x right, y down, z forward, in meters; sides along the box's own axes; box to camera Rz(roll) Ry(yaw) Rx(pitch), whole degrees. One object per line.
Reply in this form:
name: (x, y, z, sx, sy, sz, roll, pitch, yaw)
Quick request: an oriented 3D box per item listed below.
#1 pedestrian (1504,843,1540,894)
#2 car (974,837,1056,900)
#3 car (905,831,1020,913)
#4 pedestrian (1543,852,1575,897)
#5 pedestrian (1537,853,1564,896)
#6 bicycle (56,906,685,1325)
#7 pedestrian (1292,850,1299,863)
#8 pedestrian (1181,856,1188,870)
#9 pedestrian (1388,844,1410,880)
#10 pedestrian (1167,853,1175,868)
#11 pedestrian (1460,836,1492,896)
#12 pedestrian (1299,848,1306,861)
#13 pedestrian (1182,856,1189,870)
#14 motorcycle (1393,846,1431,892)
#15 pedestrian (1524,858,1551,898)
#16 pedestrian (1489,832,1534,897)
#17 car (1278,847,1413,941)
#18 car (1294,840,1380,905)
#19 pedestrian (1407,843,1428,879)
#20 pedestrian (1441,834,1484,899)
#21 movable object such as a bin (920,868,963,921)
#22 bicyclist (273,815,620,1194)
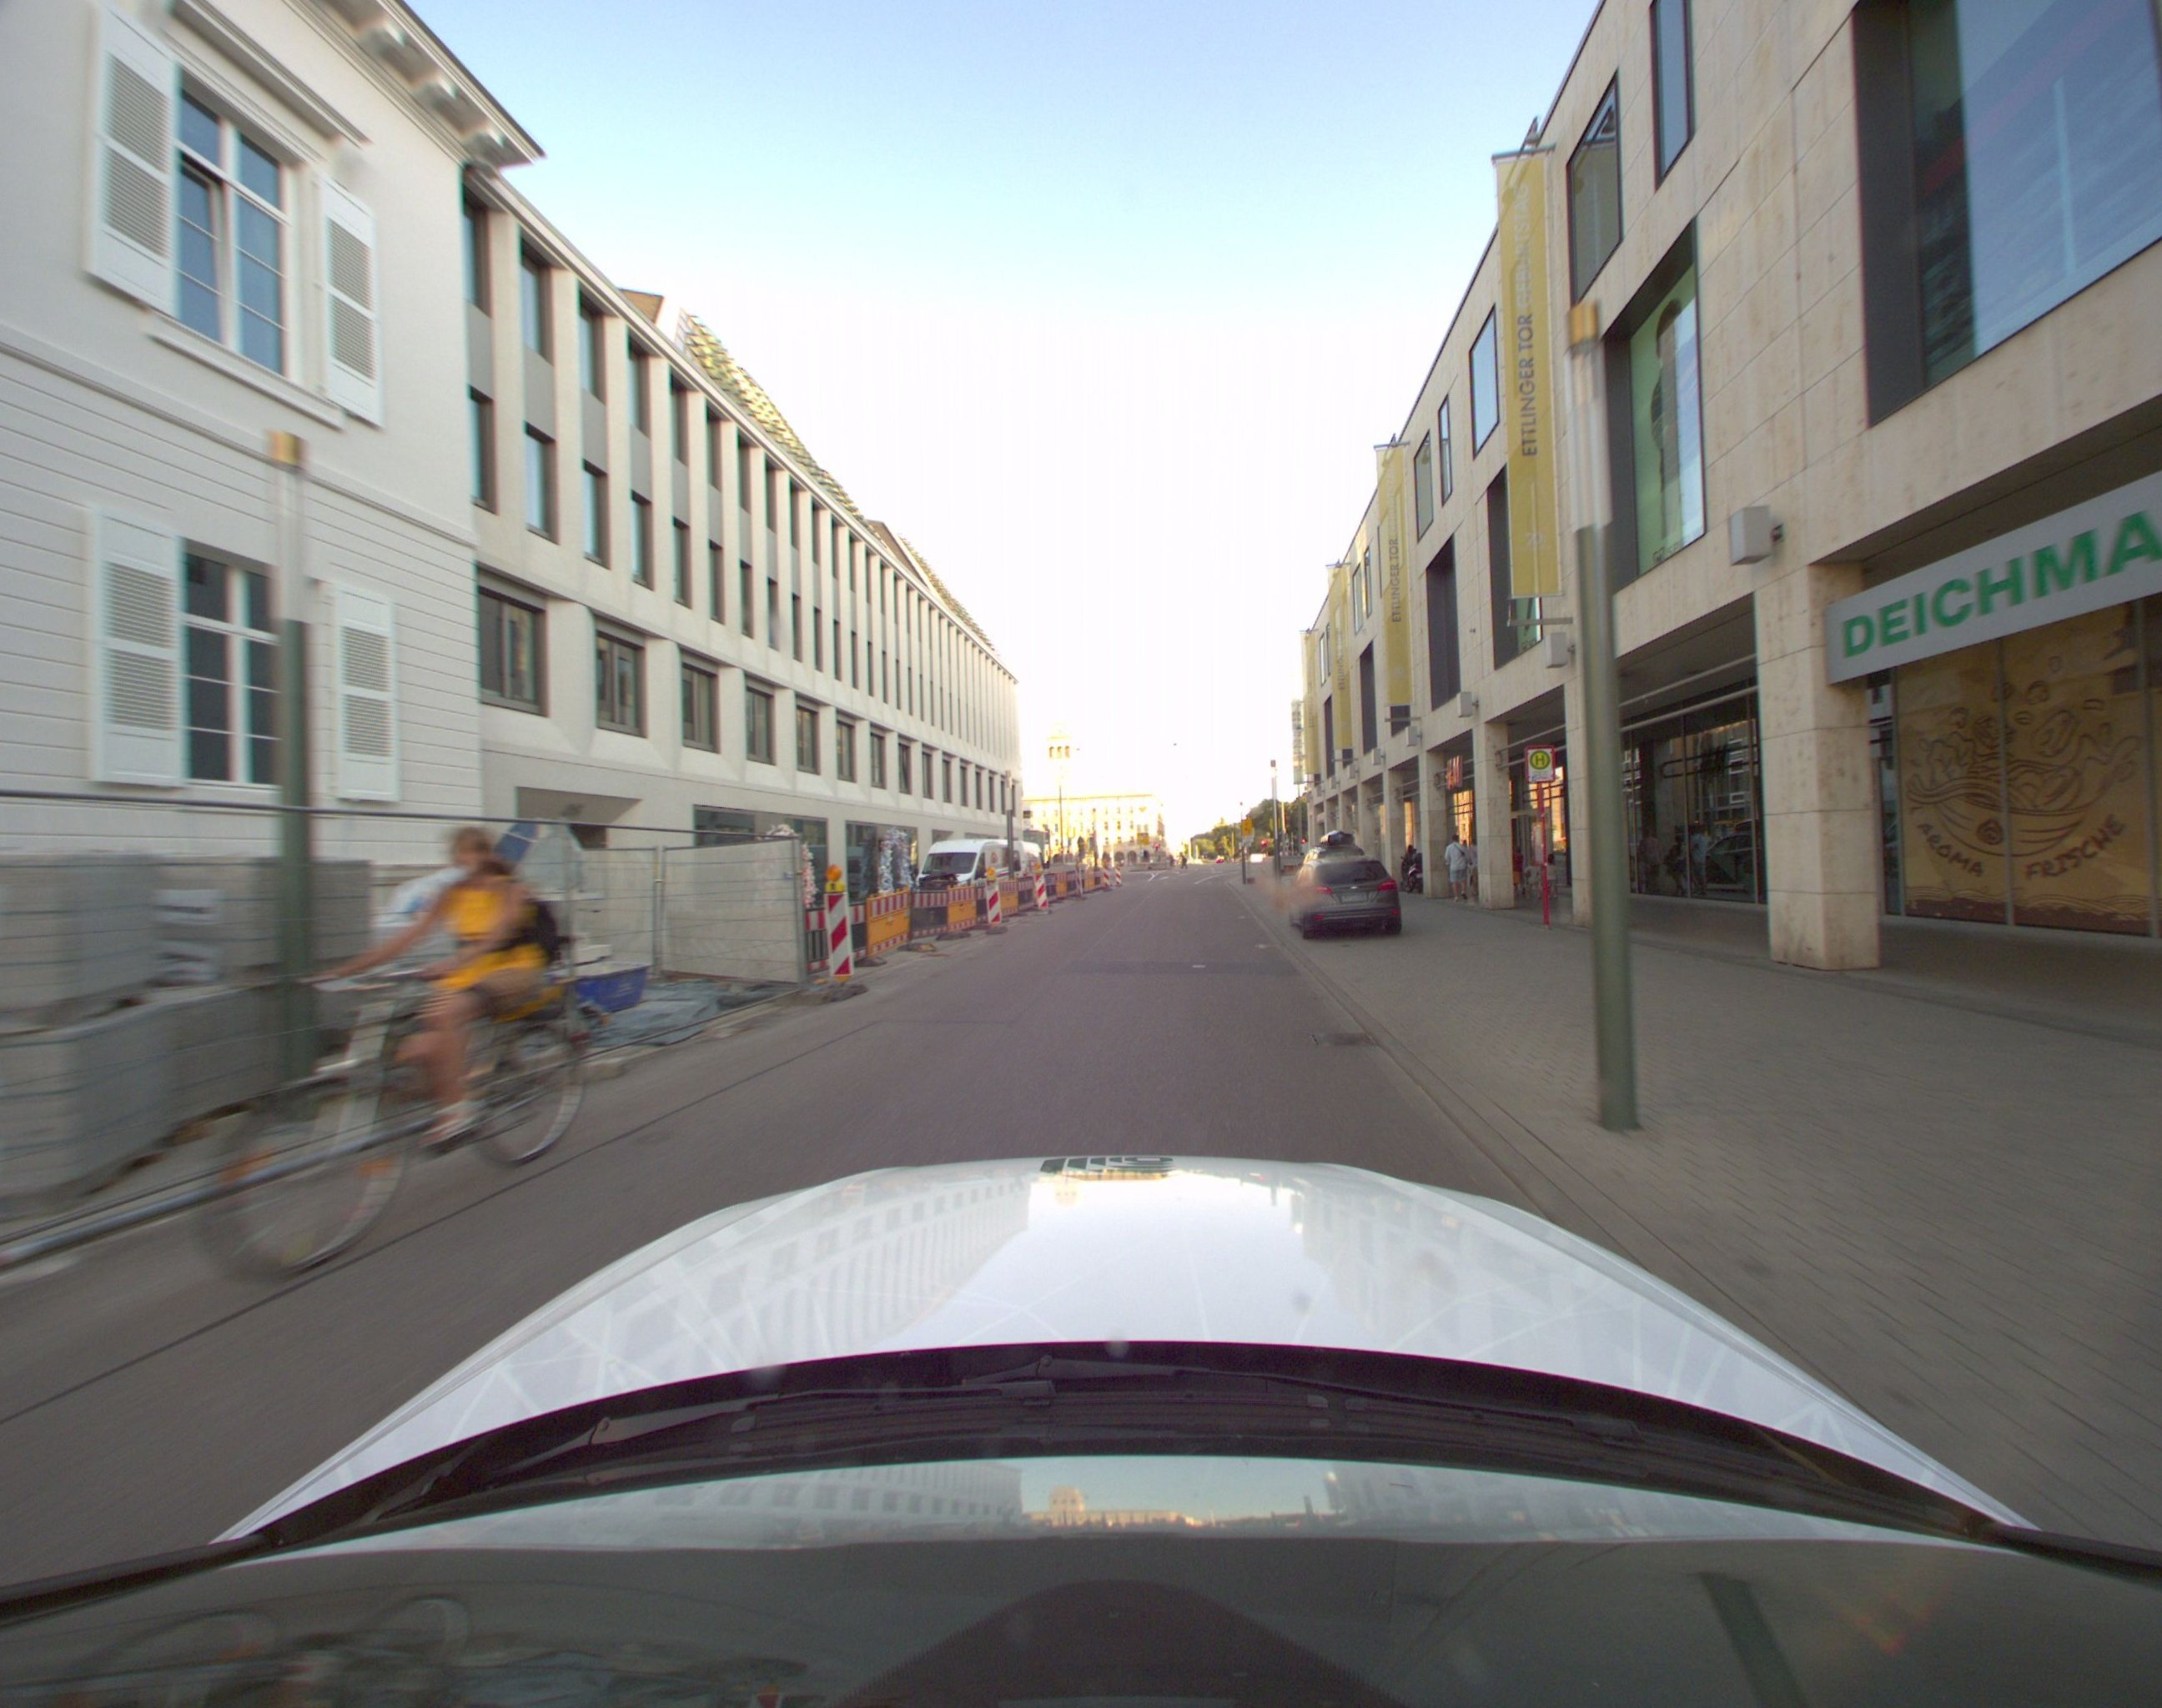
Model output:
pedestrian: (12.193, 0.393, 22.531, 0.630, 1.345, 0.777, -2, 1, 8)
car: (-2.732, 0.584, 35.310, 2.161, 2.470, 6.013, -2, 0, 8)
car: (-3.854, 0.561, 27.923, 2.161, 2.470, 6.013, -2, 0, 9)
pedestrian: (12.146, 0.511, 20.714, 0.484, 1.097, 0.603, -2, 1, 8)
pedestrian: (12.308, 0.525, 21.345, 0.417, 1.097, 0.527, -2, 1, 8)
bicycle: (-2.889, 0.930, 3.785, 0.792, 1.217, 2.237, -2, 0, 6)
pedestrian: (30.356, 0.335, 115.182, 0.855, 1.777, 0.743, -5, -1, 9)
pedestrian: (13.160, 1.143, 103.321, 0.736, 1.777, 0.863, -1, 0, 0)
pedestrian: (13.849, 0.356, 35.484, 0.720, 1.542, 0.730, -2, -1, 8)
pedestrian: (11.686, 0.847, 105.845, 0.732, 1.777, 0.868, -5, -1, 21)
pedestrian: (11.536, 0.353, 23.783, 0.587, 1.698, 0.697, -2, 0, 6)
pedestrian: (31.206, 0.041, 114.687, 0.751, 1.777, 0.743, -5, -1, 9)
pedestrian: (13.095, 1.121, 102.261, 0.734, 1.777, 0.865, -4, -1, 6)
motorcycle: (10.735, 0.483, 26.447, 0.688, 1.416, 2.142, -2, -1, 11)
pedestrian: (11.736, 0.604, 20.949, 0.417, 0.986, 0.527, -2, 1, 8)
pedestrian: (11.379, 0.264, 21.542, 0.760, 1.681, 0.879, -2, 1, 8)
car: (5.063, 0.708, 16.172, 1.785, 1.490, 4.203, -5, -1, 9)
car: (7.579, 0.524, 24.468, 1.758, 1.638, 4.067, -5, -1, 9)
pedestrian: (14.617, 0.314, 35.421, 0.630, 1.542, 0.777, -2, -1, 8)
pedestrian: (10.204, 0.313, 21.800, 0.760, 1.681, 0.879, -2, 1, 8)
movable object such as a bin: (-4.064, 1.148, 23.785, 1.041, 1.466, 1.392, -2, -1, -4)
bicyclist: (-2.878, 0.622, 3.816, 0.792, 1.532, 0.975, -2, -1, 5)
